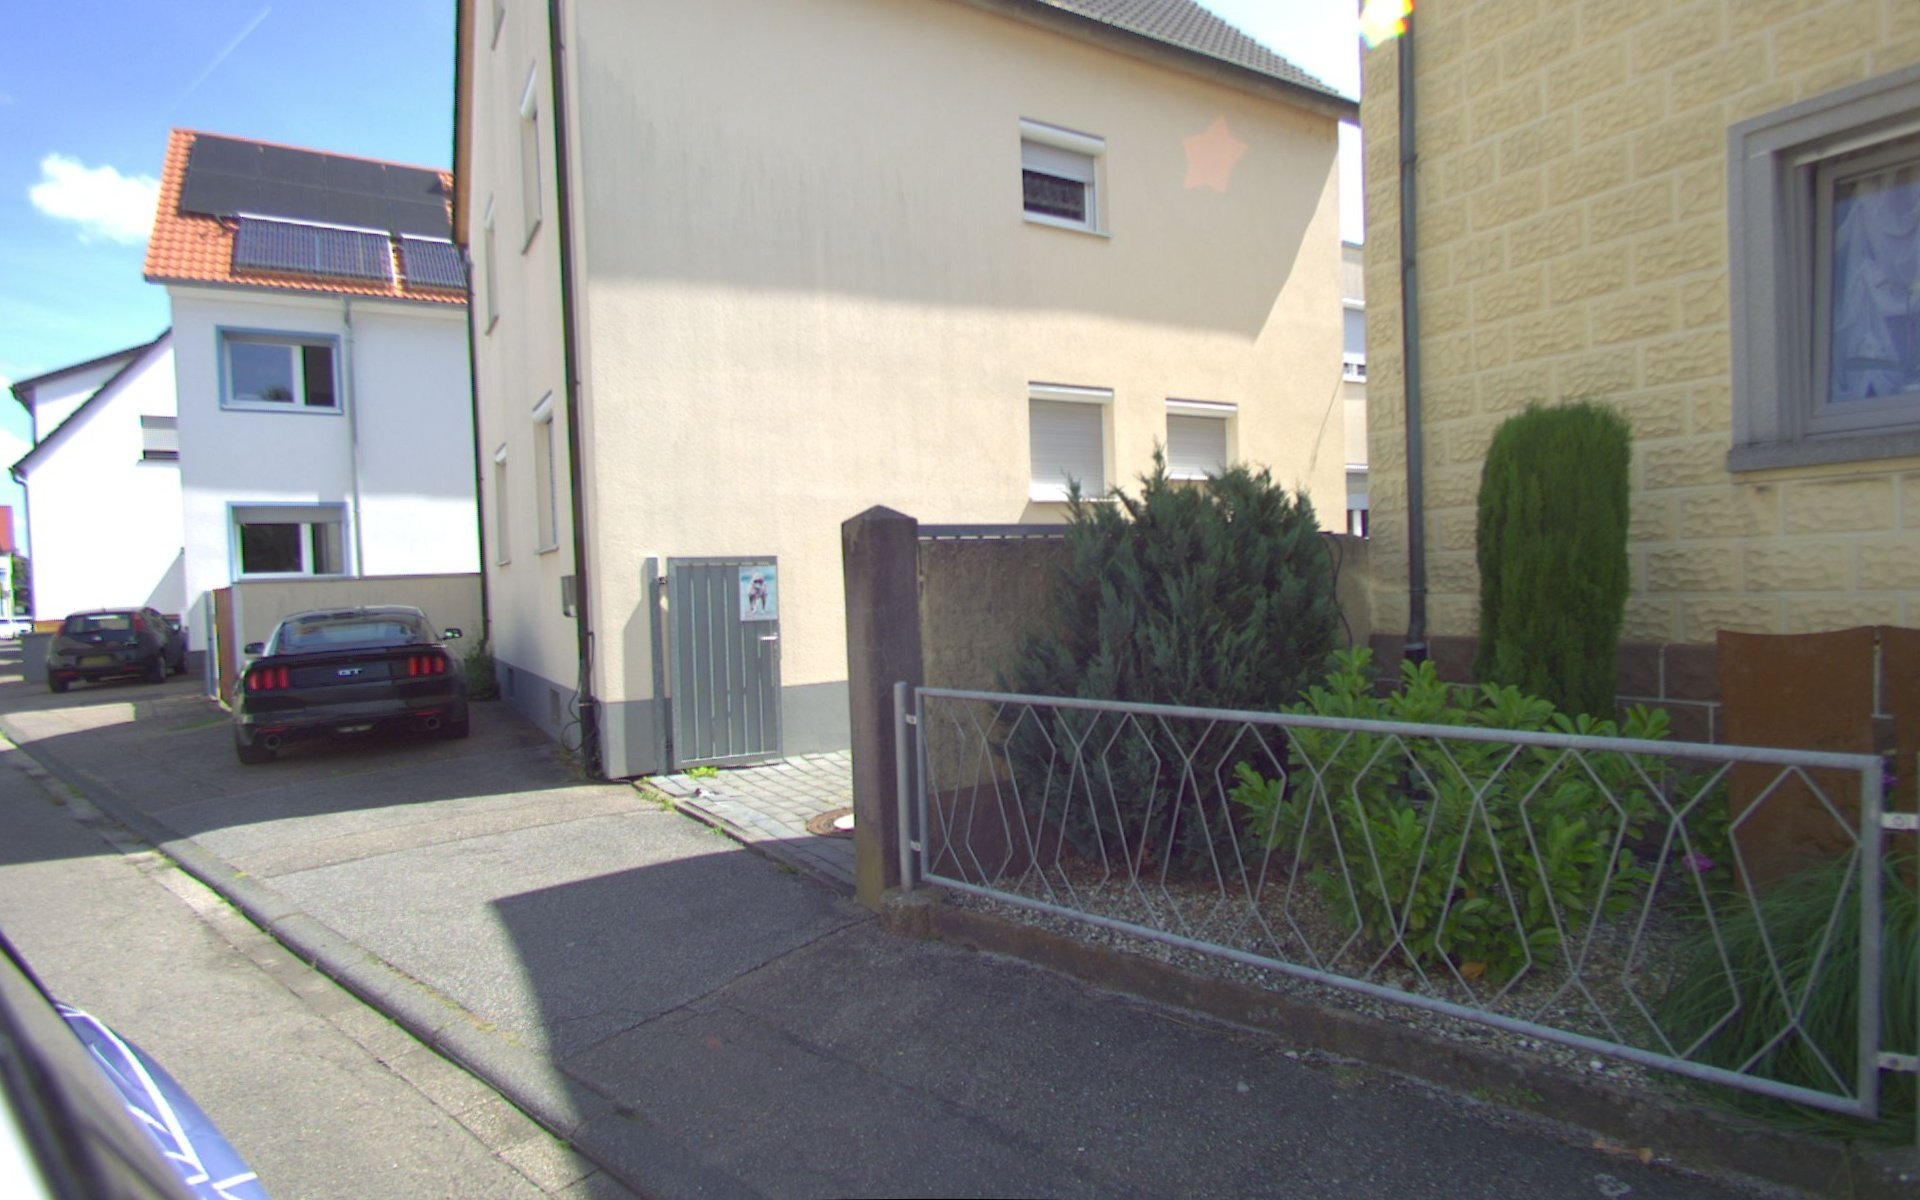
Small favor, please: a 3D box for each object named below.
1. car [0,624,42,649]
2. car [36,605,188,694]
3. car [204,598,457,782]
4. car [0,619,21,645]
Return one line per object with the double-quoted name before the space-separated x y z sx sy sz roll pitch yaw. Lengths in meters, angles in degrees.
"car" -66.580 2.549 71.721 1.758 1.511 4.048 -6 3 -37
"car" -16.467 0.900 19.834 1.615 1.466 3.798 -4 1 -31
"car" -6.352 0.718 10.527 1.745 1.359 4.484 -4 2 -29
"car" -58.797 1.998 61.691 1.758 1.511 4.048 -6 3 -37
